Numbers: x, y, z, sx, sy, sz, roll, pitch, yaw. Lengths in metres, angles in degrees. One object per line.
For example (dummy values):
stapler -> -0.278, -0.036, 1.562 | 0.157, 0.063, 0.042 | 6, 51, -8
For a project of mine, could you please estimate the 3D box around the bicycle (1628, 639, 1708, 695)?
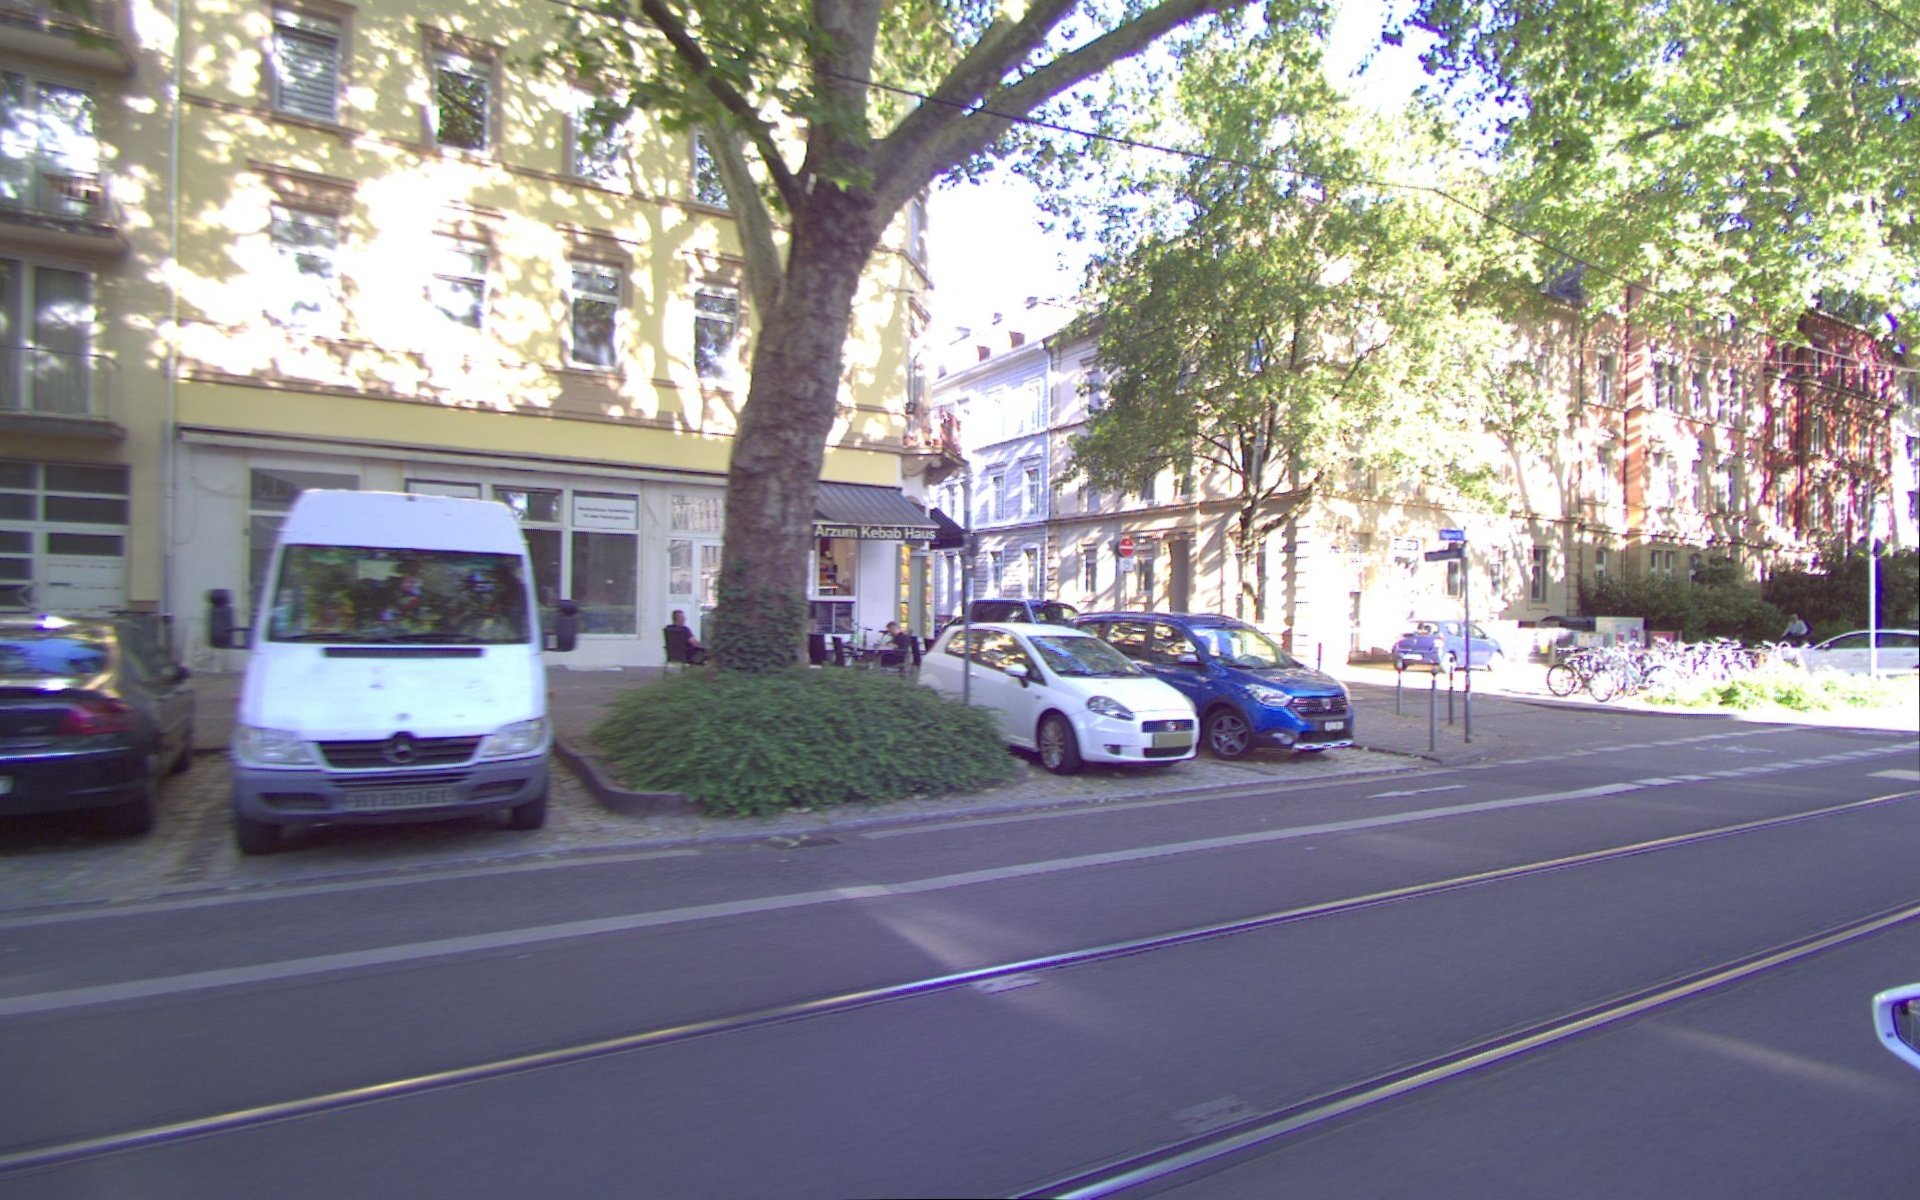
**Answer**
bicycle -> 15.083, 1.404, 21.432 | 0.389, 1.103, 1.560 | 1, -1, -11

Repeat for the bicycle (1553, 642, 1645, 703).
bicycle -> 12.877, 1.437, 20.293 | 0.389, 1.103, 1.858 | 1, -1, -11

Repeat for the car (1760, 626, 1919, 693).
car -> 21.859, 1.403, 23.964 | 1.857, 1.479, 3.968 | 3, -2, -30

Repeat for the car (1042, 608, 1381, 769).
car -> 3.095, 0.998, 13.258 | 1.797, 1.734, 4.295 | 1, -1, -32

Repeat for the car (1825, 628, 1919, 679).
car -> 27.367, 1.522, 28.500 | 1.585, 1.387, 3.972 | 1, -1, -27

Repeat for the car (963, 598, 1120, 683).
car -> 1.984, 0.995, 26.038 | 2.099, 1.905, 4.562 | 4, -2, -23

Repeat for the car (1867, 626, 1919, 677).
car -> 29.614, 1.560, 29.591 | 1.748, 1.479, 3.972 | 1, -1, -27

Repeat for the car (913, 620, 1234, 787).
car -> 1.139, 1.033, 11.644 | 1.729, 1.538, 3.748 | 1, -1, -32

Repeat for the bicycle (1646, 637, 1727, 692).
bicycle -> 15.520, 1.355, 21.498 | 0.389, 1.103, 1.560 | 1, -1, -11

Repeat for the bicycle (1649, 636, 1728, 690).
bicycle -> 15.910, 1.364, 21.980 | 0.389, 1.103, 1.560 | 1, -1, -11

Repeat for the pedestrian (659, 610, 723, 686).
pedestrian -> -4.610, 0.814, 17.227 | 0.918, 1.257, 0.704 | 1, 0, -28

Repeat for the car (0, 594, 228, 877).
car -> -6.904, 0.792, 7.497 | 1.883, 1.517, 4.123 | 2, 1, -30

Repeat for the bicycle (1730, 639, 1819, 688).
bicycle -> 19.214, 1.473, 23.744 | 0.585, 1.057, 1.806 | 1, -1, -2

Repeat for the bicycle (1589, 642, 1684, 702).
bicycle -> 13.742, 1.439, 20.459 | 0.389, 1.103, 1.858 | 1, -1, -11

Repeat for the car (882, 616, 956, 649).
car -> -1.851, 1.414, 44.067 | 1.735, 1.322, 3.885 | 1, -1, -28

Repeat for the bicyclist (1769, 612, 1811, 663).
bicyclist -> 29.665, 1.322, 35.910 | 1.036, 1.786, 0.826 | 1, 0, -30

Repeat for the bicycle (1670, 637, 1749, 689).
bicycle -> 16.986, 1.414, 22.801 | 0.389, 1.103, 1.560 | 1, -1, -11

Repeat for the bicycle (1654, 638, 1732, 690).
bicycle -> 16.517, 1.427, 22.664 | 0.389, 1.103, 1.560 | 1, -1, -11

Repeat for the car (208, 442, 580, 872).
car -> -4.960, 0.238, 9.064 | 1.975, 2.440, 6.573 | 1, 2, -29

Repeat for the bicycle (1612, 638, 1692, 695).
bicycle -> 14.648, 1.389, 21.296 | 0.389, 1.103, 1.560 | 1, -1, -11

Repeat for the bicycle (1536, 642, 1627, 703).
bicycle -> 12.457, 1.433, 20.198 | 0.389, 1.103, 1.858 | 1, -1, -11

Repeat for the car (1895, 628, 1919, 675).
car -> 31.666, 1.636, 30.863 | 1.682, 1.479, 3.972 | 1, -1, -27

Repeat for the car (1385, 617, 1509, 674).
car -> 13.698, 1.247, 28.204 | 3.452, 1.479, 1.589 | 1, -1, -33

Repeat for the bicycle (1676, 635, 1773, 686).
bicycle -> 17.972, 1.404, 23.663 | 0.587, 1.103, 1.921 | 1, -1, -11

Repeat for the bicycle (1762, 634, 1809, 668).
bicycle -> 29.471, 1.804, 35.852 | 1.759, 1.154, 0.738 | 1, 0, -30
